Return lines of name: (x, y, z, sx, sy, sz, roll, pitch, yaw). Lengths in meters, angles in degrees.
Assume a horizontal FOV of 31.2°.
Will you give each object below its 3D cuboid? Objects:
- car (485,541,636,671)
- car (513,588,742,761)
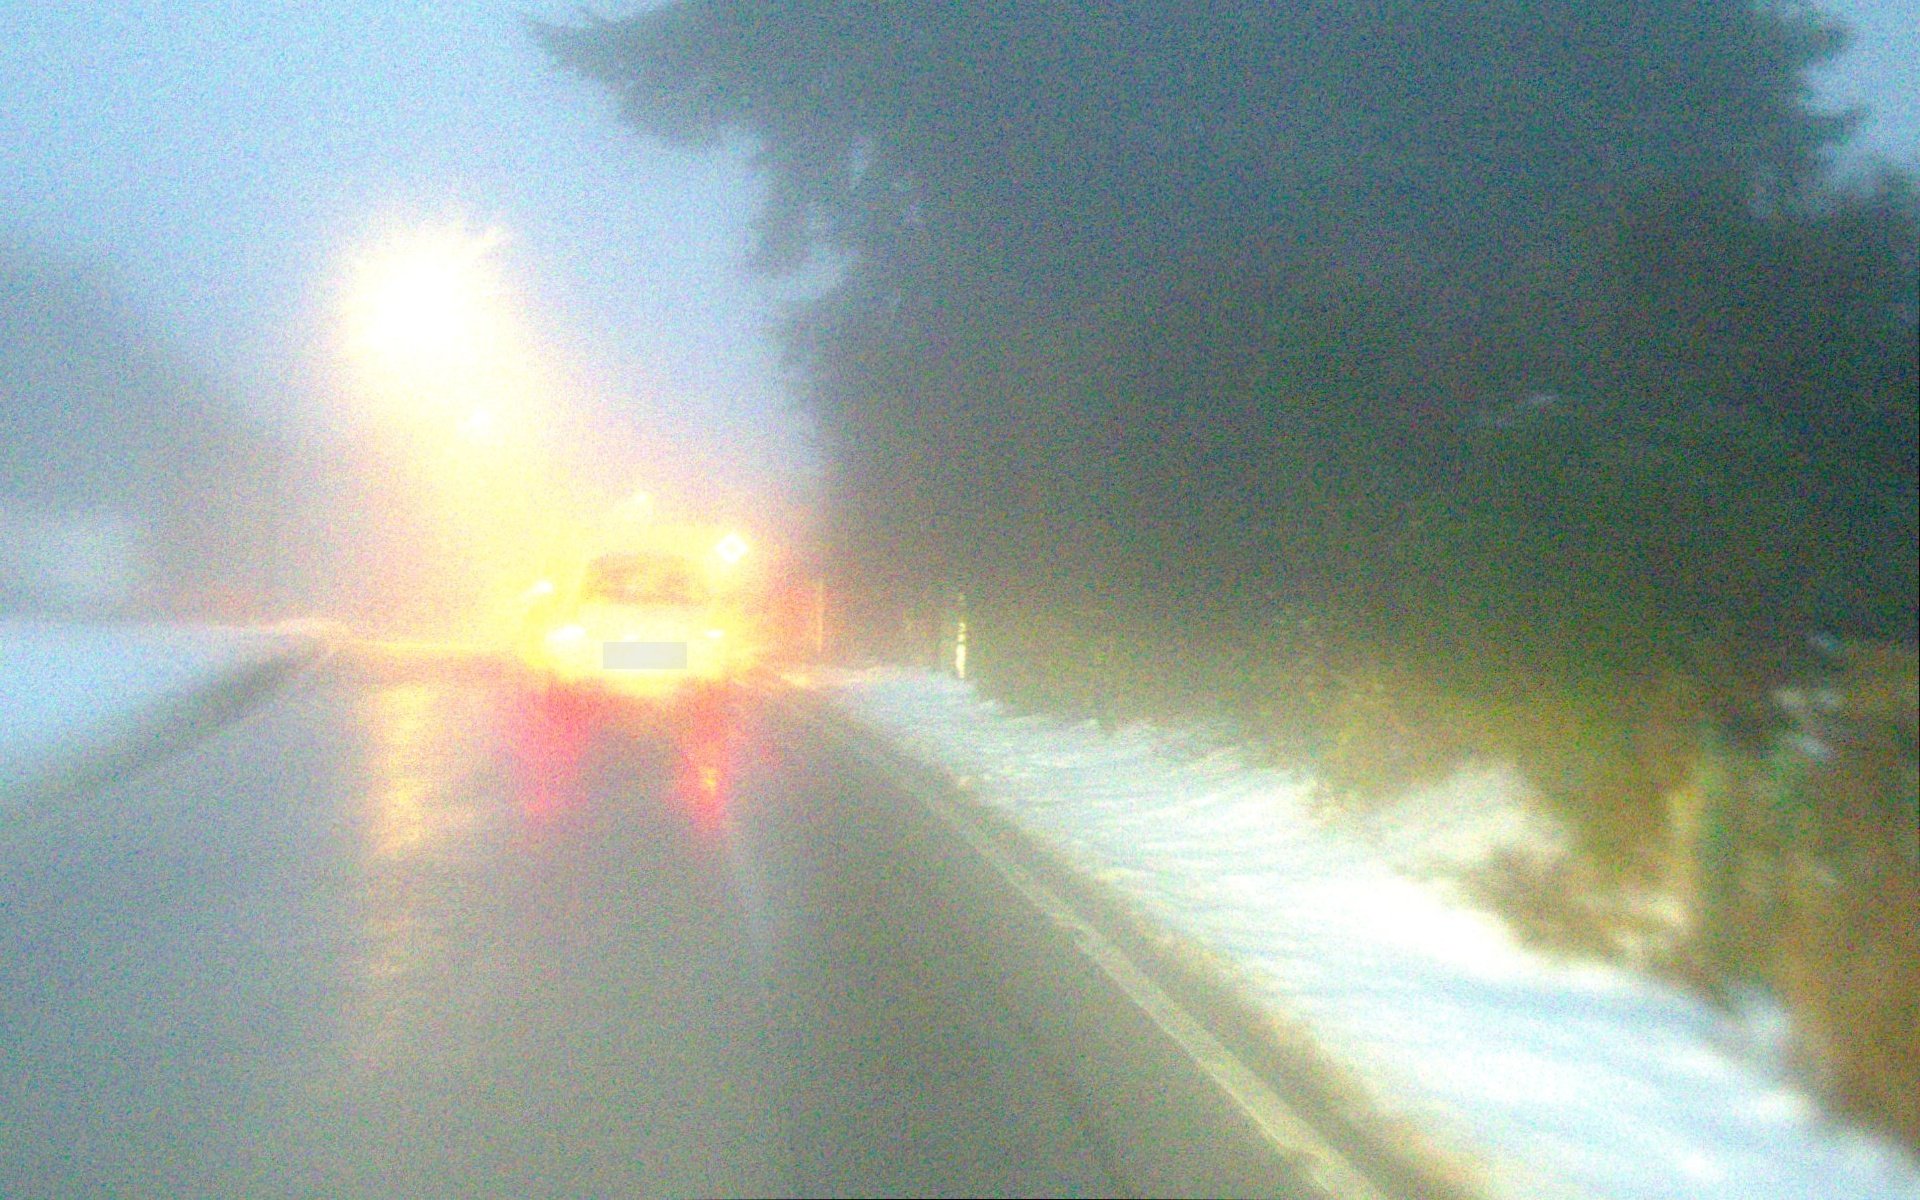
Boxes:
car: (-5.560, 0.065, 48.208, 1.993, 1.744, 4.001, 0, 0, -5)
car: (-3.063, 0.646, 32.159, 1.993, 1.503, 4.001, 0, 0, -4)
